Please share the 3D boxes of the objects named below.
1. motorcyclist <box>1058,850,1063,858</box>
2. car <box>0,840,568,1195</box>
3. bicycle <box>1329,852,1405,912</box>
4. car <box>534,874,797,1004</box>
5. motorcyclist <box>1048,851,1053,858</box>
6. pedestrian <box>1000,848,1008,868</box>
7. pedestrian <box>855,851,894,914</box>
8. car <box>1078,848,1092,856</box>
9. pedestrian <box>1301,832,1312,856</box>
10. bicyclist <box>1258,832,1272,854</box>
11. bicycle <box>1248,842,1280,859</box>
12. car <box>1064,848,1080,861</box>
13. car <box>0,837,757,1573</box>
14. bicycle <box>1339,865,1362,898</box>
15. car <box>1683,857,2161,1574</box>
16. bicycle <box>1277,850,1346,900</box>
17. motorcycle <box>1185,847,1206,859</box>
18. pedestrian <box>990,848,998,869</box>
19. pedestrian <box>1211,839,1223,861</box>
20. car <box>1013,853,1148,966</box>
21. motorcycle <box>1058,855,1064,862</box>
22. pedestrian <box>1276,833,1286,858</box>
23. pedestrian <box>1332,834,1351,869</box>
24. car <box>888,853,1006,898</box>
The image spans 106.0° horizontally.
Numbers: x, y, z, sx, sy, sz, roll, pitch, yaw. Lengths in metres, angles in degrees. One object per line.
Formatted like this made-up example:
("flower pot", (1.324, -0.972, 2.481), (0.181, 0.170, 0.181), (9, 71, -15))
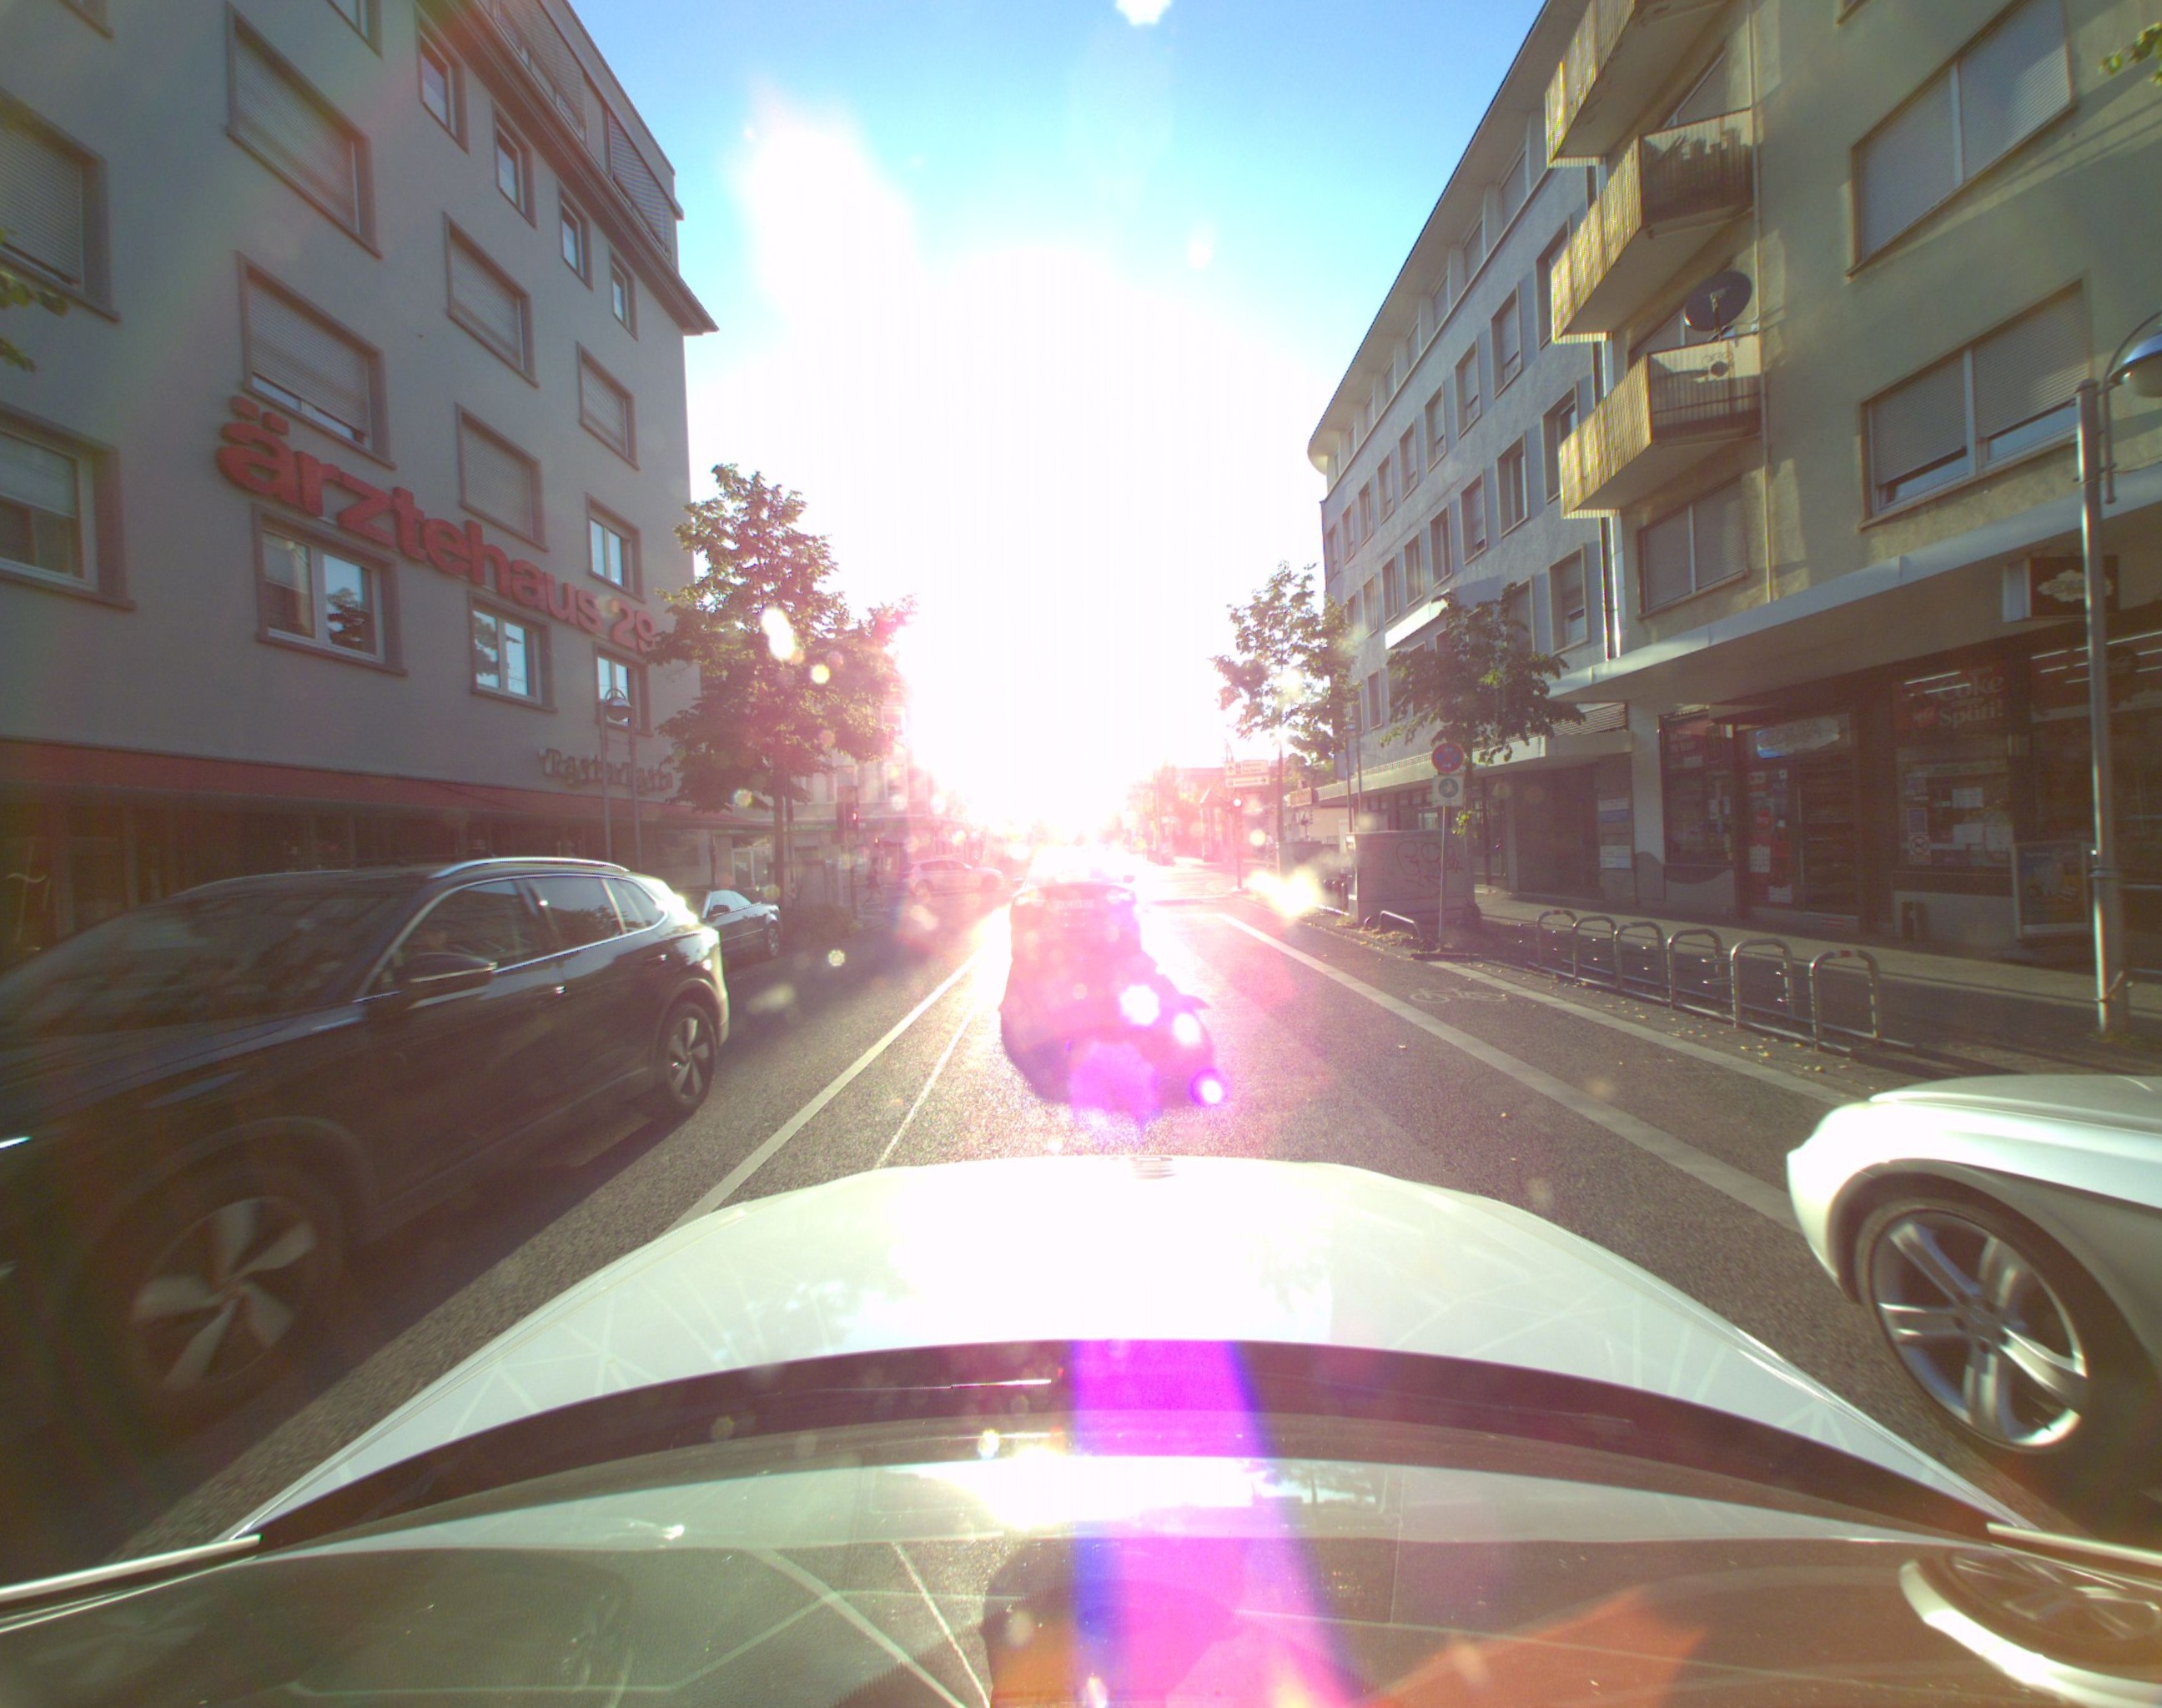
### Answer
("motorcyclist", (-2.544, 0.008, 101.738), (0.573, 0.995, 0.703), (-1, 0, 1))
("car", (-6.216, 0.936, 6.457), (1.664, 1.887, 4.051), (-5, 0, -2))
("bicycle", (5.967, 0.580, 17.024), (1.435, 1.220, 0.383), (-1, 0, 2))
("car", (-6.061, 1.141, 12.564), (1.717, 1.415, 4.280), (-5, 0, 1))
("motorcyclist", (-3.822, 0.027, 102.408), (0.573, 0.915, 2.201), (-1, 0, 1))
("pedestrian", (-7.090, 0.373, 75.250), (0.674, 1.876, 0.618), (-1, 0, 1))
("pedestrian", (-6.416, 0.881, 25.289), (1.004, 1.860, 0.636), (-4, 1, -19))
("car", (0.790, -0.366, 159.710), (1.805, 1.519, 4.015), (-3, 0, 13))
("pedestrian", (15.963, -0.705, 57.647), (0.481, 1.734, 0.527), (-1, 0, -24))
("bicyclist", (12.592, -0.738, 55.807), (0.555, 1.481, 0.714), (-1, -1, -43))
("bicycle", (12.543, -0.241, 55.871), (0.555, 1.159, 2.118), (-1, 0, -43))
("car", (-1.157, 0.040, 102.381), (1.811, 1.519, 4.001), (-3, 0, 1))
("car", (-3.324, 0.826, 3.810), (1.724, 1.675, 4.296), (-3, 1, 1))
("bicycle", (6.829, 0.684, 20.654), (0.248, 0.796, 1.116), (-1, 0, 3))
("car", (3.021, 0.733, 0.599), (1.736, 1.401, 4.639), (-1, 0, 0))
("bicycle", (5.856, 0.528, 20.721), (1.606, 1.171, 0.319), (-3, 0, 2))
("motorcycle", (10.259, -0.074, 73.185), (1.669, 0.939, 0.853), (-3, 0, -10))
("pedestrian", (-7.989, 0.391, 75.055), (0.641, 1.876, 0.632), (-1, 0, 1))
("pedestrian", (9.828, -0.293, 58.728), (0.731, 1.529, 0.472), (-1, 0, -6))
("car", (0.007, 0.719, 12.793), (1.731, 1.428, 4.223), (-2, 0, 0))
("motorcycle", (-2.517, 0.538, 101.850), (0.573, 0.915, 2.201), (-1, 0, 1))
("pedestrian", (14.242, -0.617, 57.999), (0.444, 1.734, 0.430), (-1, 0, -24))
("pedestrian", (14.115, -0.163, 44.107), (0.828, 1.841, 0.682), (-3, 0, 22))
("car", (-5.448, 0.837, 33.055), (4.327, 1.498, 1.984), (-3, 1, -25))
